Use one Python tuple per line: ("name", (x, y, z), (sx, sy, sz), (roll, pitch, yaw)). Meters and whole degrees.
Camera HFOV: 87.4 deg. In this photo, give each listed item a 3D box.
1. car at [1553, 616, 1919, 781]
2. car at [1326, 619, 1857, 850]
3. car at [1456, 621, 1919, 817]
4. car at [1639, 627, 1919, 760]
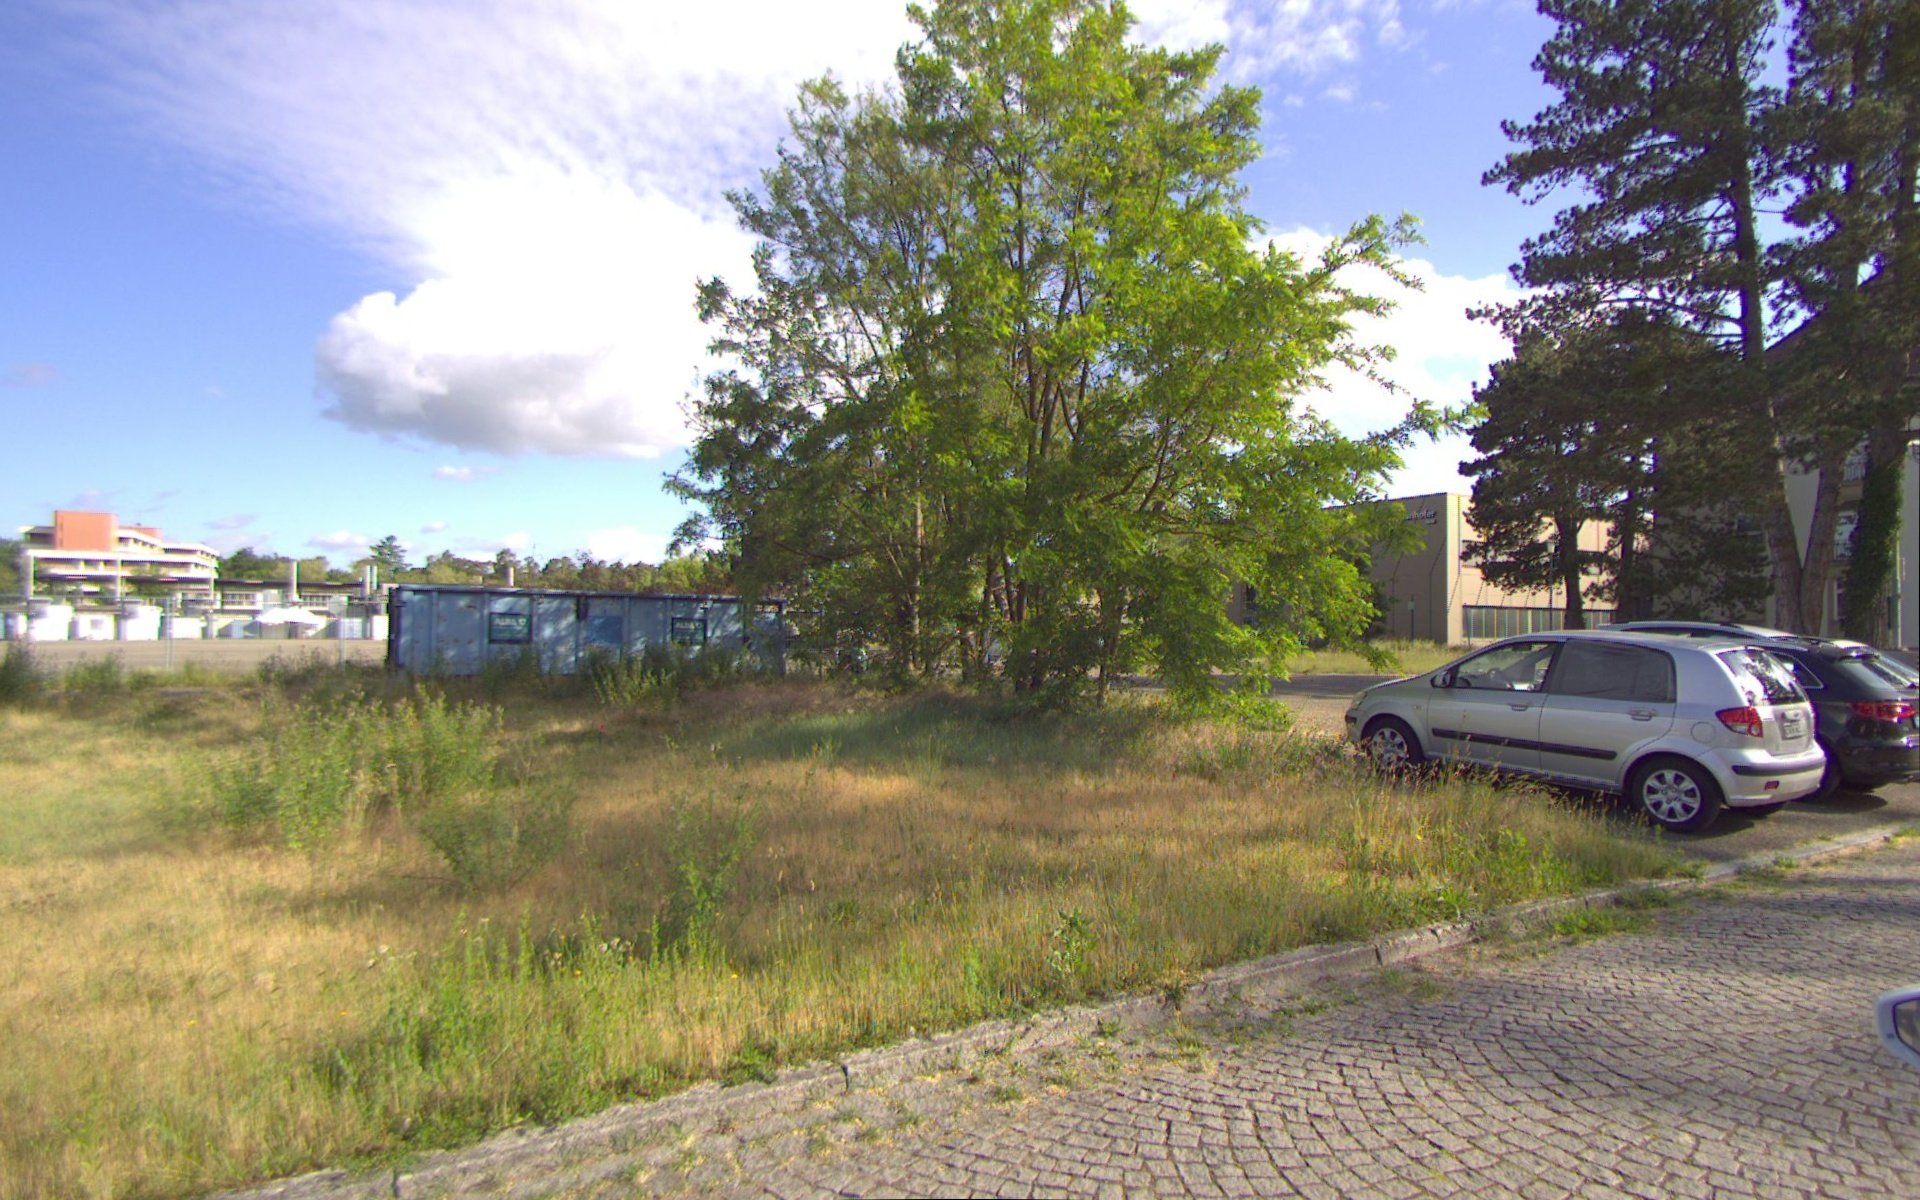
("car", (9.928, 1.070, 12.428), (1.865, 1.614, 4.057), (1, 1, -32))
("car", (5.404, 0.987, 9.075), (1.628, 1.507, 3.725), (1, 1, -32))
("car", (7.618, 1.040, 10.562), (1.783, 1.500, 3.964), (1, 1, -32))
("car", (11.994, 1.201, 13.572), (1.810, 1.488, 4.309), (1, 1, -32))
